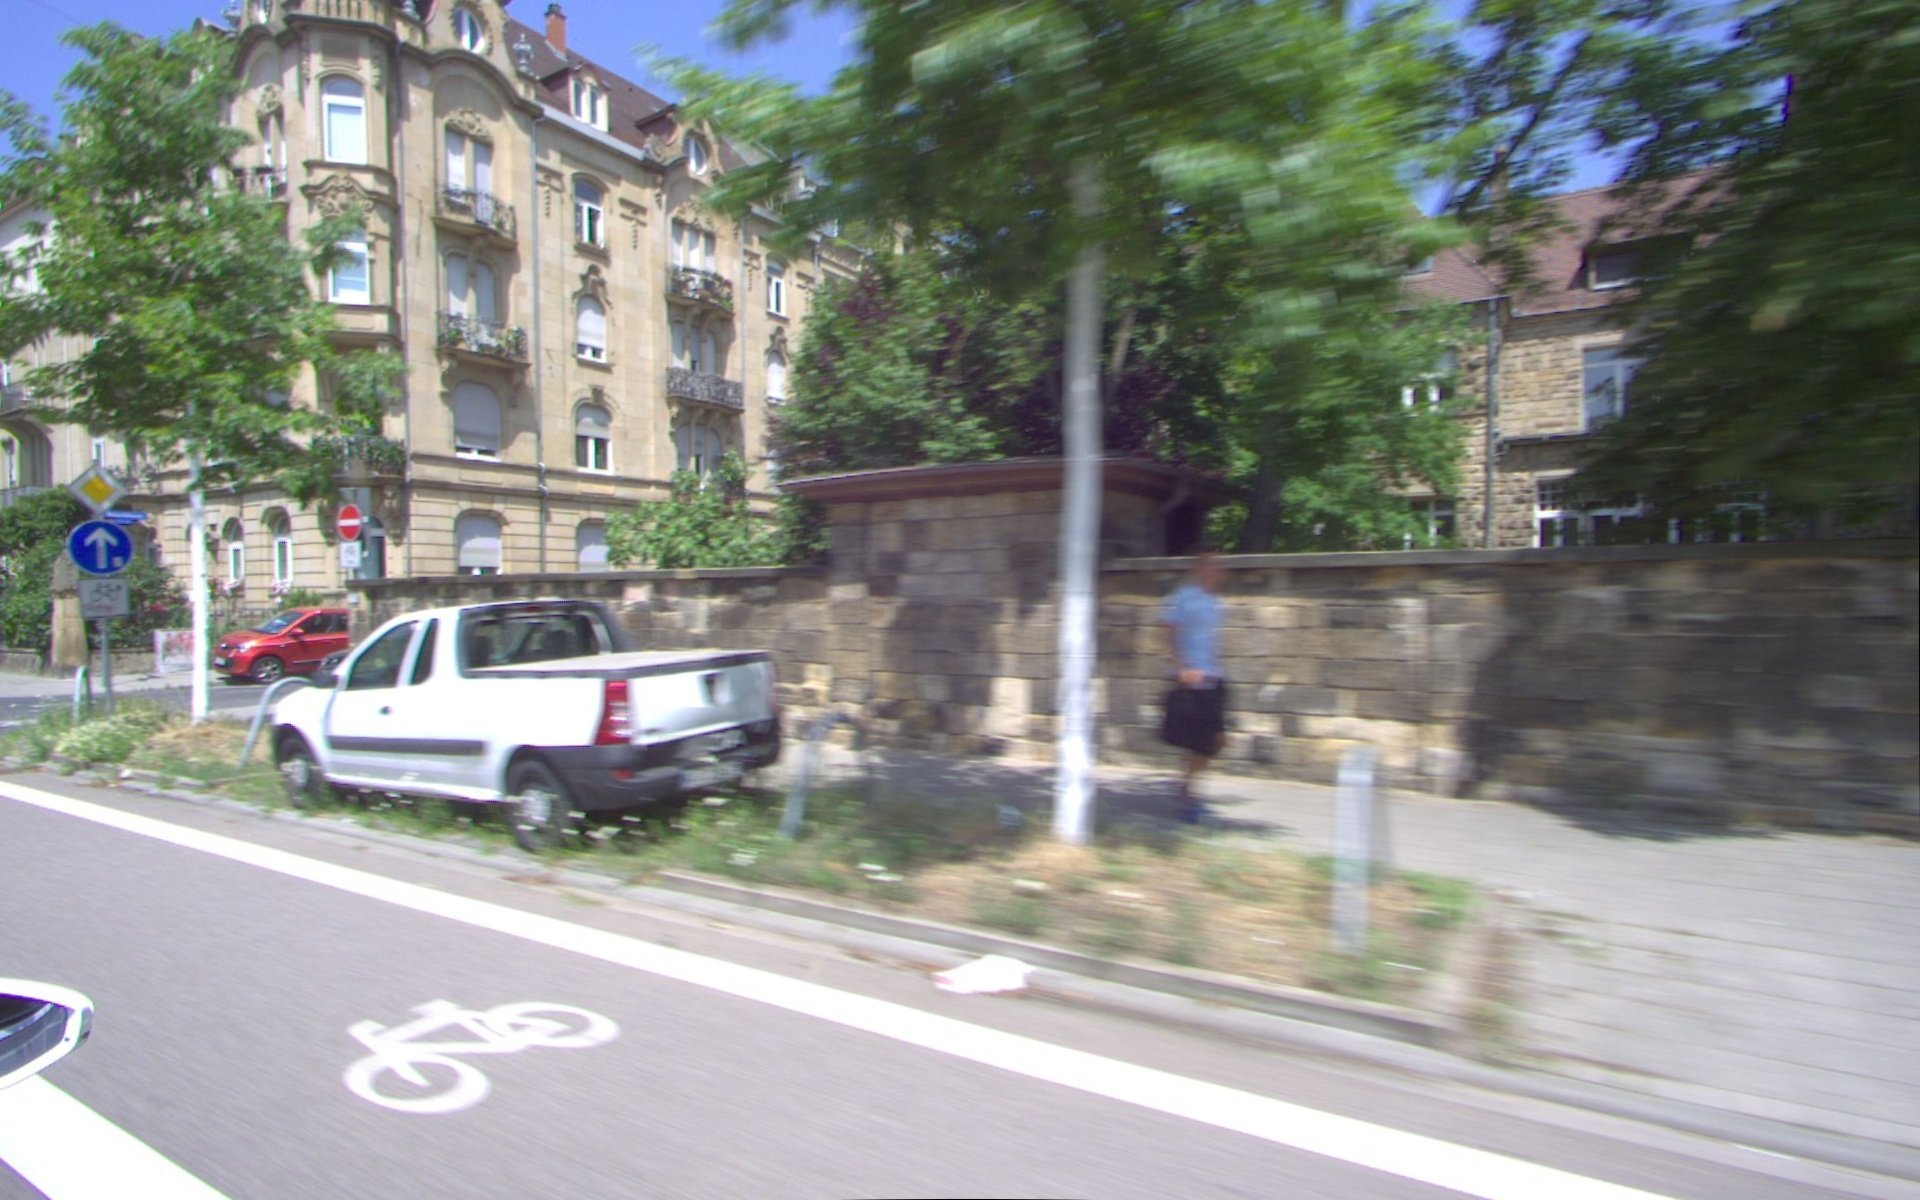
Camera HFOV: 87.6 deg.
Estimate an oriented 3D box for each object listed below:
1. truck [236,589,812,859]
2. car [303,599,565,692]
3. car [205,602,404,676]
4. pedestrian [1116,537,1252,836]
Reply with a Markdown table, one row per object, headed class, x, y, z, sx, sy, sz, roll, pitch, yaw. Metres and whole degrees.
| class | x | y | z | sx | sy | sz | roll | pitch | yaw |
| --- | --- | --- | --- | --- | --- | --- | --- | --- | --- |
| truck | -3.406 | 0.710 | 7.607 | 4.398 | 1.546 | 1.787 | 0 | 0 | 30 |
| car | -9.875 | 0.802 | 19.146 | 1.649 | 1.510 | 4.175 | -4 | -1 | 29 |
| car | -14.677 | 0.805 | 22.576 | 1.533 | 1.511 | 3.443 | 0 | 1 | 33 |
| pedestrian | 1.436 | 0.517 | 6.406 | 0.669 | 1.778 | 0.619 | 1 | 1 | 33 |
